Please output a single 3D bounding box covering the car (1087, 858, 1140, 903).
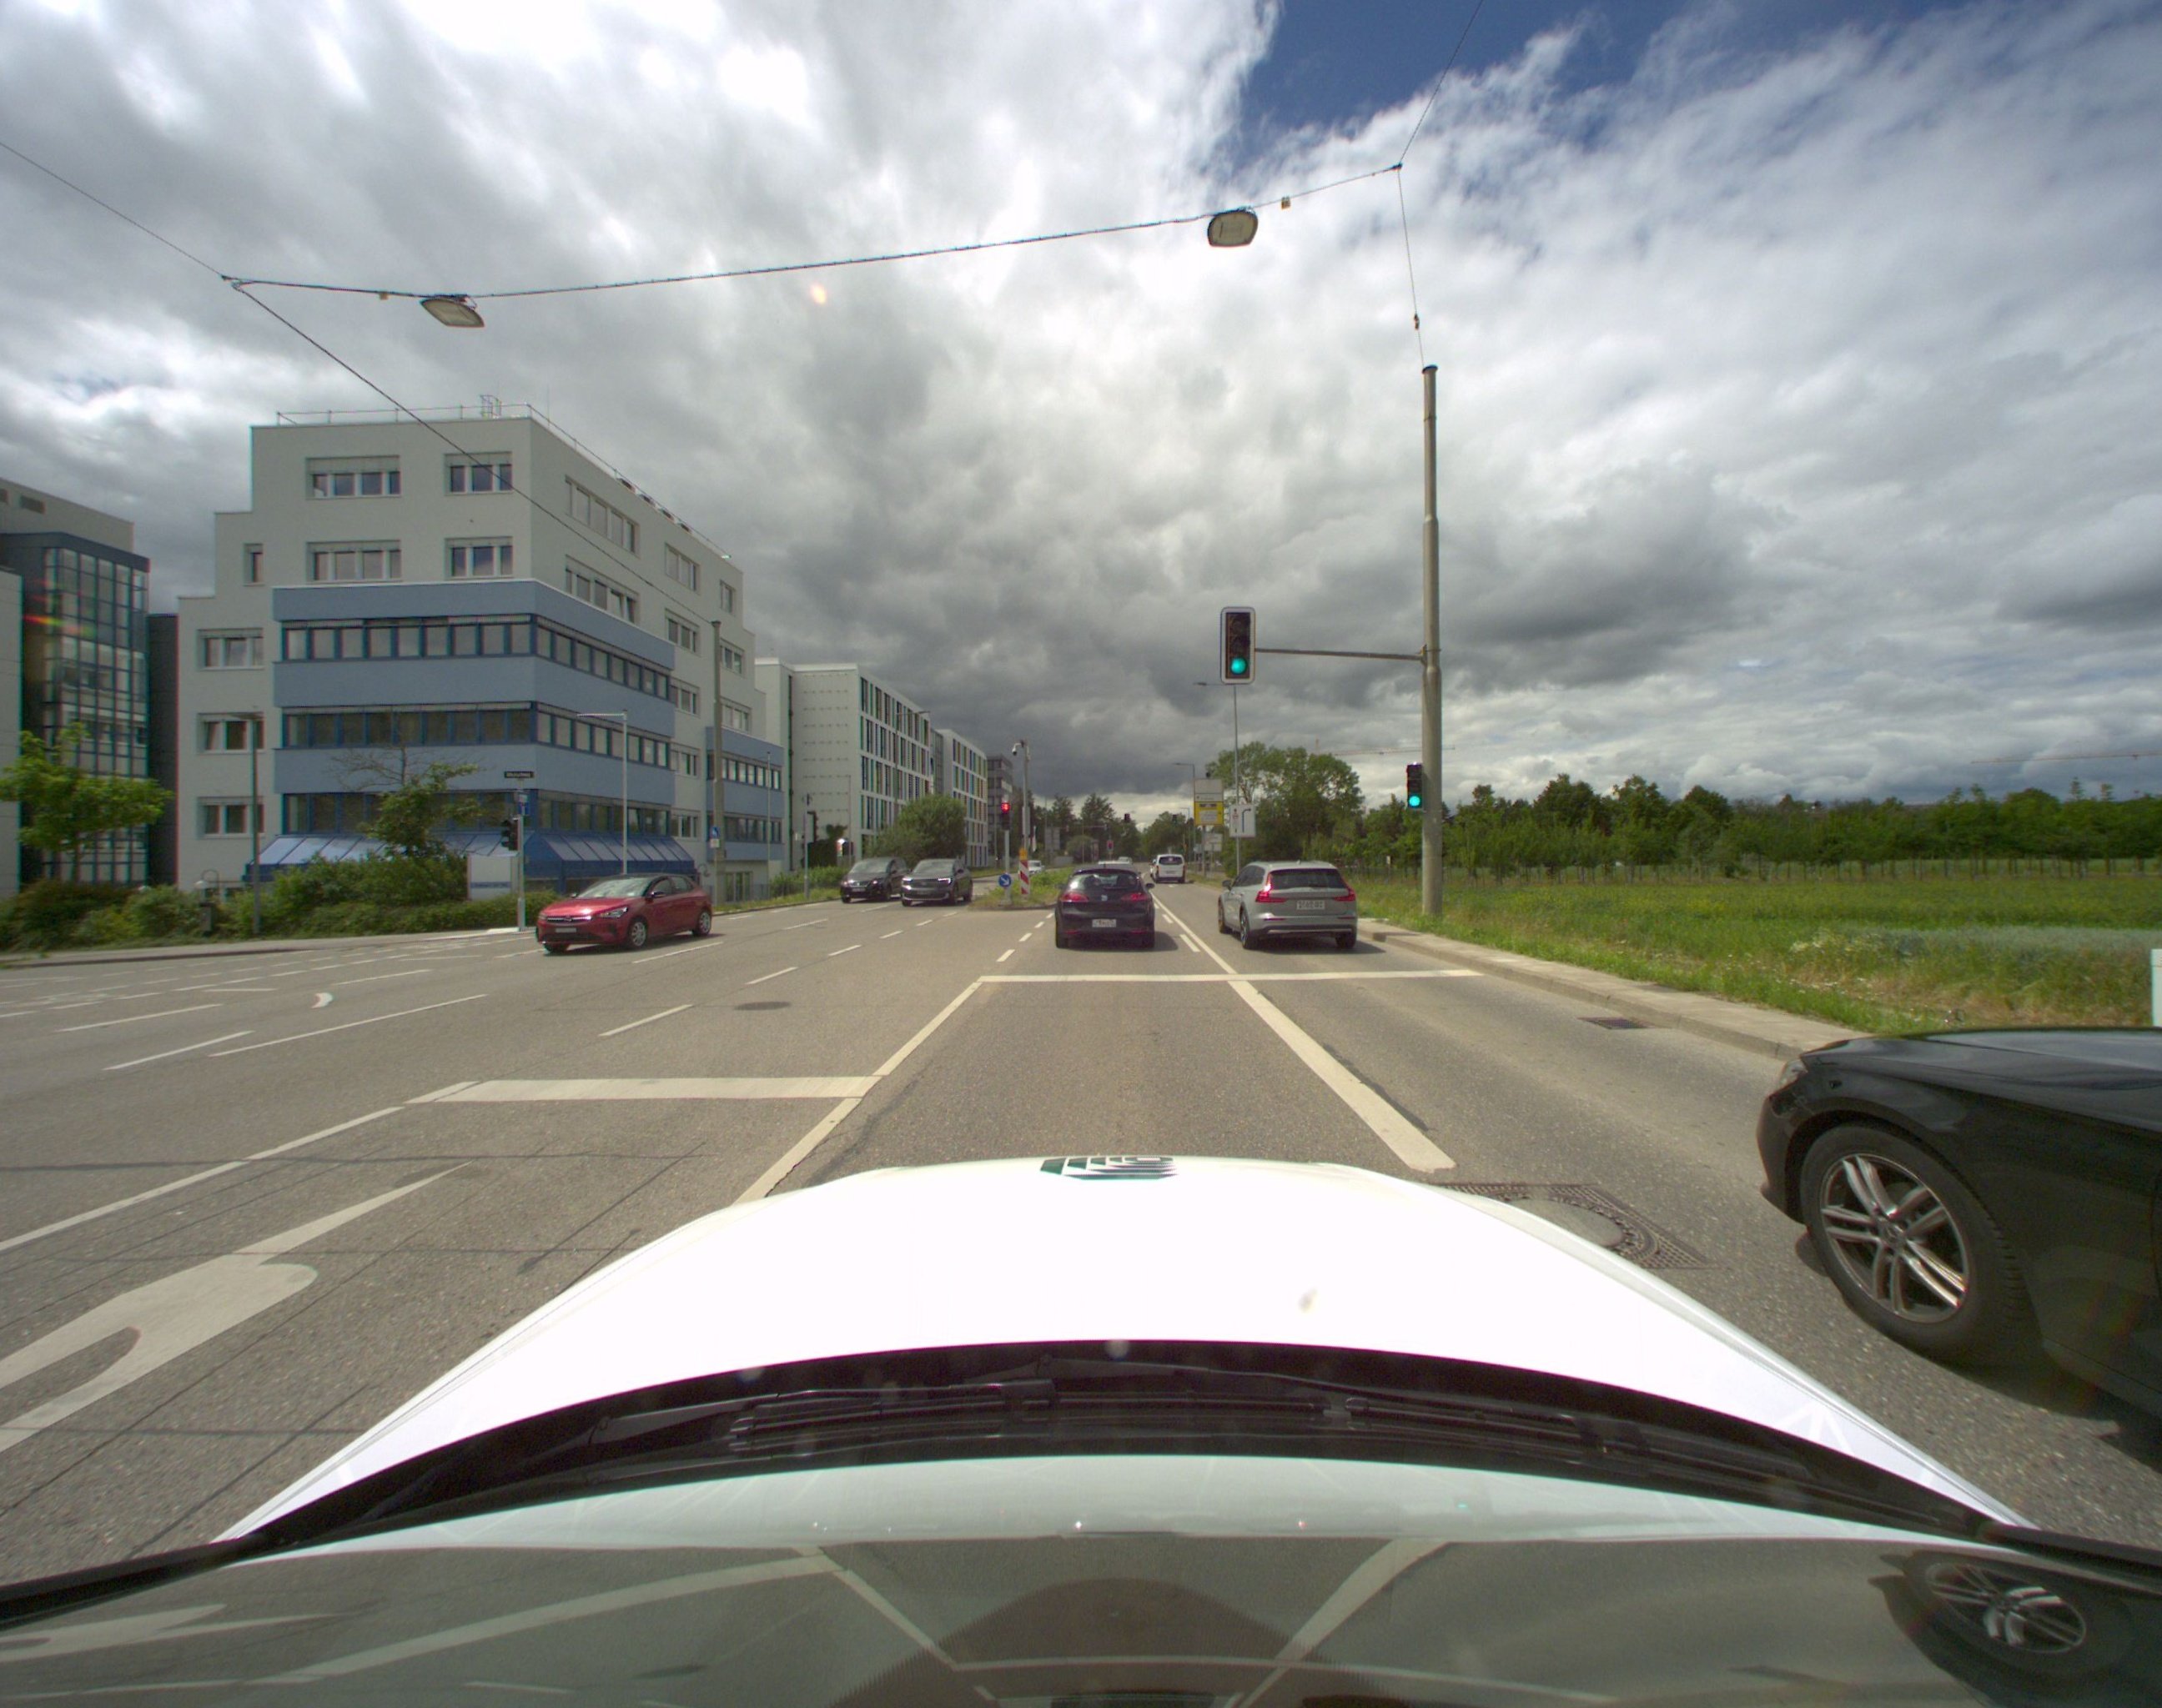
[{"bbox_3d":[1.196,0.909,29.449,1.766,1.491,3.584,-1,0,3],"label":"car"}]

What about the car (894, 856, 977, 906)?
[{"bbox_3d":[-5.037,0.888,28.773,1.986,1.618,4.308,-1,0,2],"label":"car"}]

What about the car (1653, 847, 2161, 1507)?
[{"bbox_3d":[3.271,0.701,0.814,1.865,1.441,5.202,-1,0,2],"label":"car"}]

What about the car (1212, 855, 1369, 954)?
[{"bbox_3d":[3.628,0.801,14.939,1.856,1.518,4.448,-1,0,2],"label":"car"}]

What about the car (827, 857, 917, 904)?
[{"bbox_3d":[-8.143,0.982,32.217,1.984,1.702,4.766,-1,0,4],"label":"car"}]

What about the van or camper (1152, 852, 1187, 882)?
[{"bbox_3d":[5.740,0.810,53.205,1.985,1.860,4.948,0,0,3],"label":"van or camper"}]

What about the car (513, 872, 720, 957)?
[{"bbox_3d":[-9.176,1.124,16.522,1.773,1.415,4.001,-2,-1,2],"label":"car"}]

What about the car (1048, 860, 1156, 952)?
[{"bbox_3d":[0.494,0.861,15.164,1.765,1.452,3.587,1,0,5],"label":"car"}]

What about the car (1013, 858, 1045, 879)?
[{"bbox_3d":[-3.785,1.052,60.373,1.784,1.447,4.426,-1,0,4],"label":"car"}]
